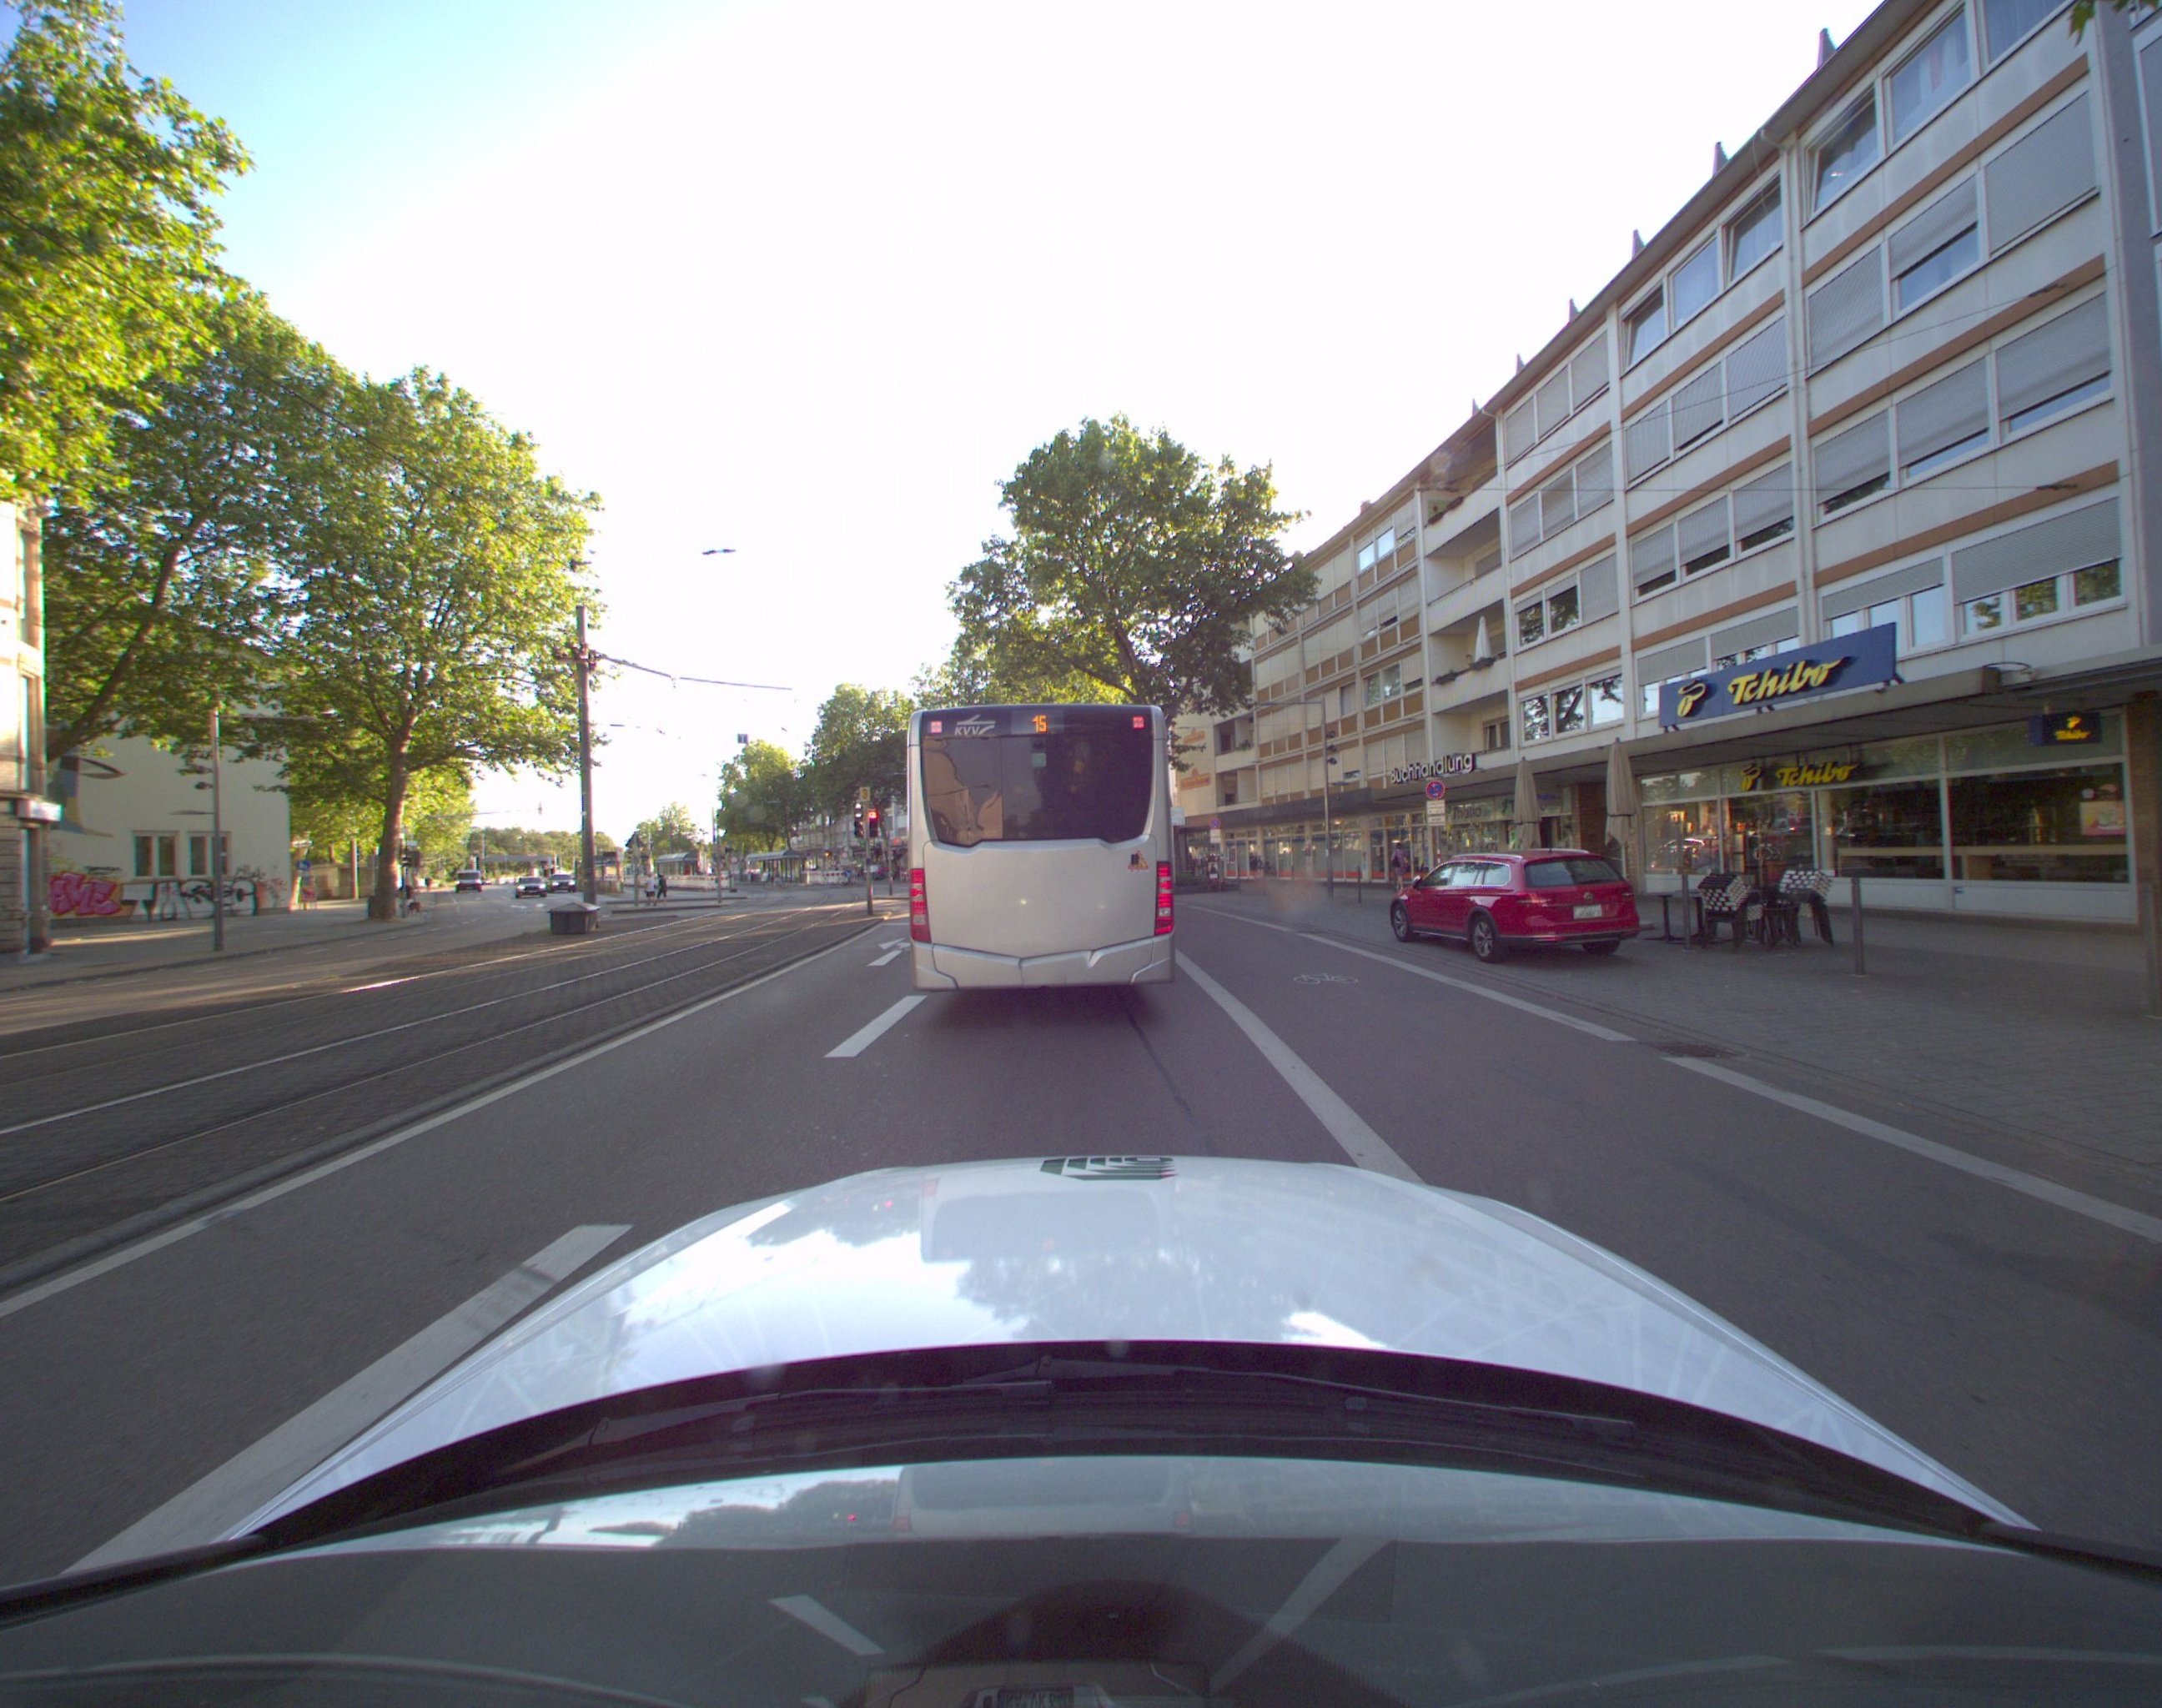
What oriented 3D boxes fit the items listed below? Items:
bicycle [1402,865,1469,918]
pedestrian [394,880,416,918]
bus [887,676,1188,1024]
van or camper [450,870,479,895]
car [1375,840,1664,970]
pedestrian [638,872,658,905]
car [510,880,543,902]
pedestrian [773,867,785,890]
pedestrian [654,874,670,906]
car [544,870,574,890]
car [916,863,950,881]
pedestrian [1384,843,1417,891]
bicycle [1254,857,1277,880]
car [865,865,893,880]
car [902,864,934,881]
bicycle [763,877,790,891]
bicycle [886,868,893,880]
[{"bbox_3d":[7.842,0.804,18.089,0.511,1.070,1.657,-4,0,-7],"label":"bicycle"},{"bbox_3d":[-31.604,2.089,38.099,0.426,1.710,0.681,-1,-1,34],"label":"pedestrian"},{"bbox_3d":[-0.499,0.012,12.542,2.650,3.099,10.209,-2,-1,-1],"label":"bus"},{"bbox_3d":[-63.062,2.881,83.364,2.184,2.319,5.047,-4,1,-36],"label":"van or camper"},{"bbox_3d":[6.326,0.654,12.483,1.774,1.496,4.564,-4,0,-2],"label":"car"},{"bbox_3d":[-20.200,1.628,38.020,0.516,1.504,0.596,-2,-1,19],"label":"pedestrian"},{"bbox_3d":[-39.753,2.631,58.412,1.900,1.472,4.162,-1,-1,-34],"label":"car"},{"bbox_3d":[-22.870,1.870,61.716,0.726,1.725,0.394,-1,-1,-42],"label":"pedestrian"},{"bbox_3d":[-19.843,1.689,38.563,0.405,1.504,0.519,-2,-1,18],"label":"pedestrian"},{"bbox_3d":[-45.001,2.251,70.182,1.900,1.585,4.160,-2,-1,-36],"label":"car"},{"bbox_3d":[-13.585,1.652,74.609,1.675,1.516,3.376,-5,2,-34],"label":"car"},{"bbox_3d":[10.585,0.420,27.007,0.640,1.552,0.804,-2,-1,-12],"label":"pedestrian"},{"bbox_3d":[9.491,0.741,41.886,0.438,1.092,1.453,-4,0,-17],"label":"bicycle"},{"bbox_3d":[-21.177,1.933,85.405,1.675,1.468,3.375,-5,2,-36],"label":"car"},{"bbox_3d":[-15.679,1.771,78.179,1.675,1.394,3.374,-5,2,-36],"label":"car"},{"bbox_3d":[-23.187,2.289,62.068,1.857,0.942,0.458,-2,-1,-43],"label":"bicycle"},{"bbox_3d":[-19.363,1.998,82.249,0.508,1.211,2.079,-2,0,-18],"label":"bicycle"}]
